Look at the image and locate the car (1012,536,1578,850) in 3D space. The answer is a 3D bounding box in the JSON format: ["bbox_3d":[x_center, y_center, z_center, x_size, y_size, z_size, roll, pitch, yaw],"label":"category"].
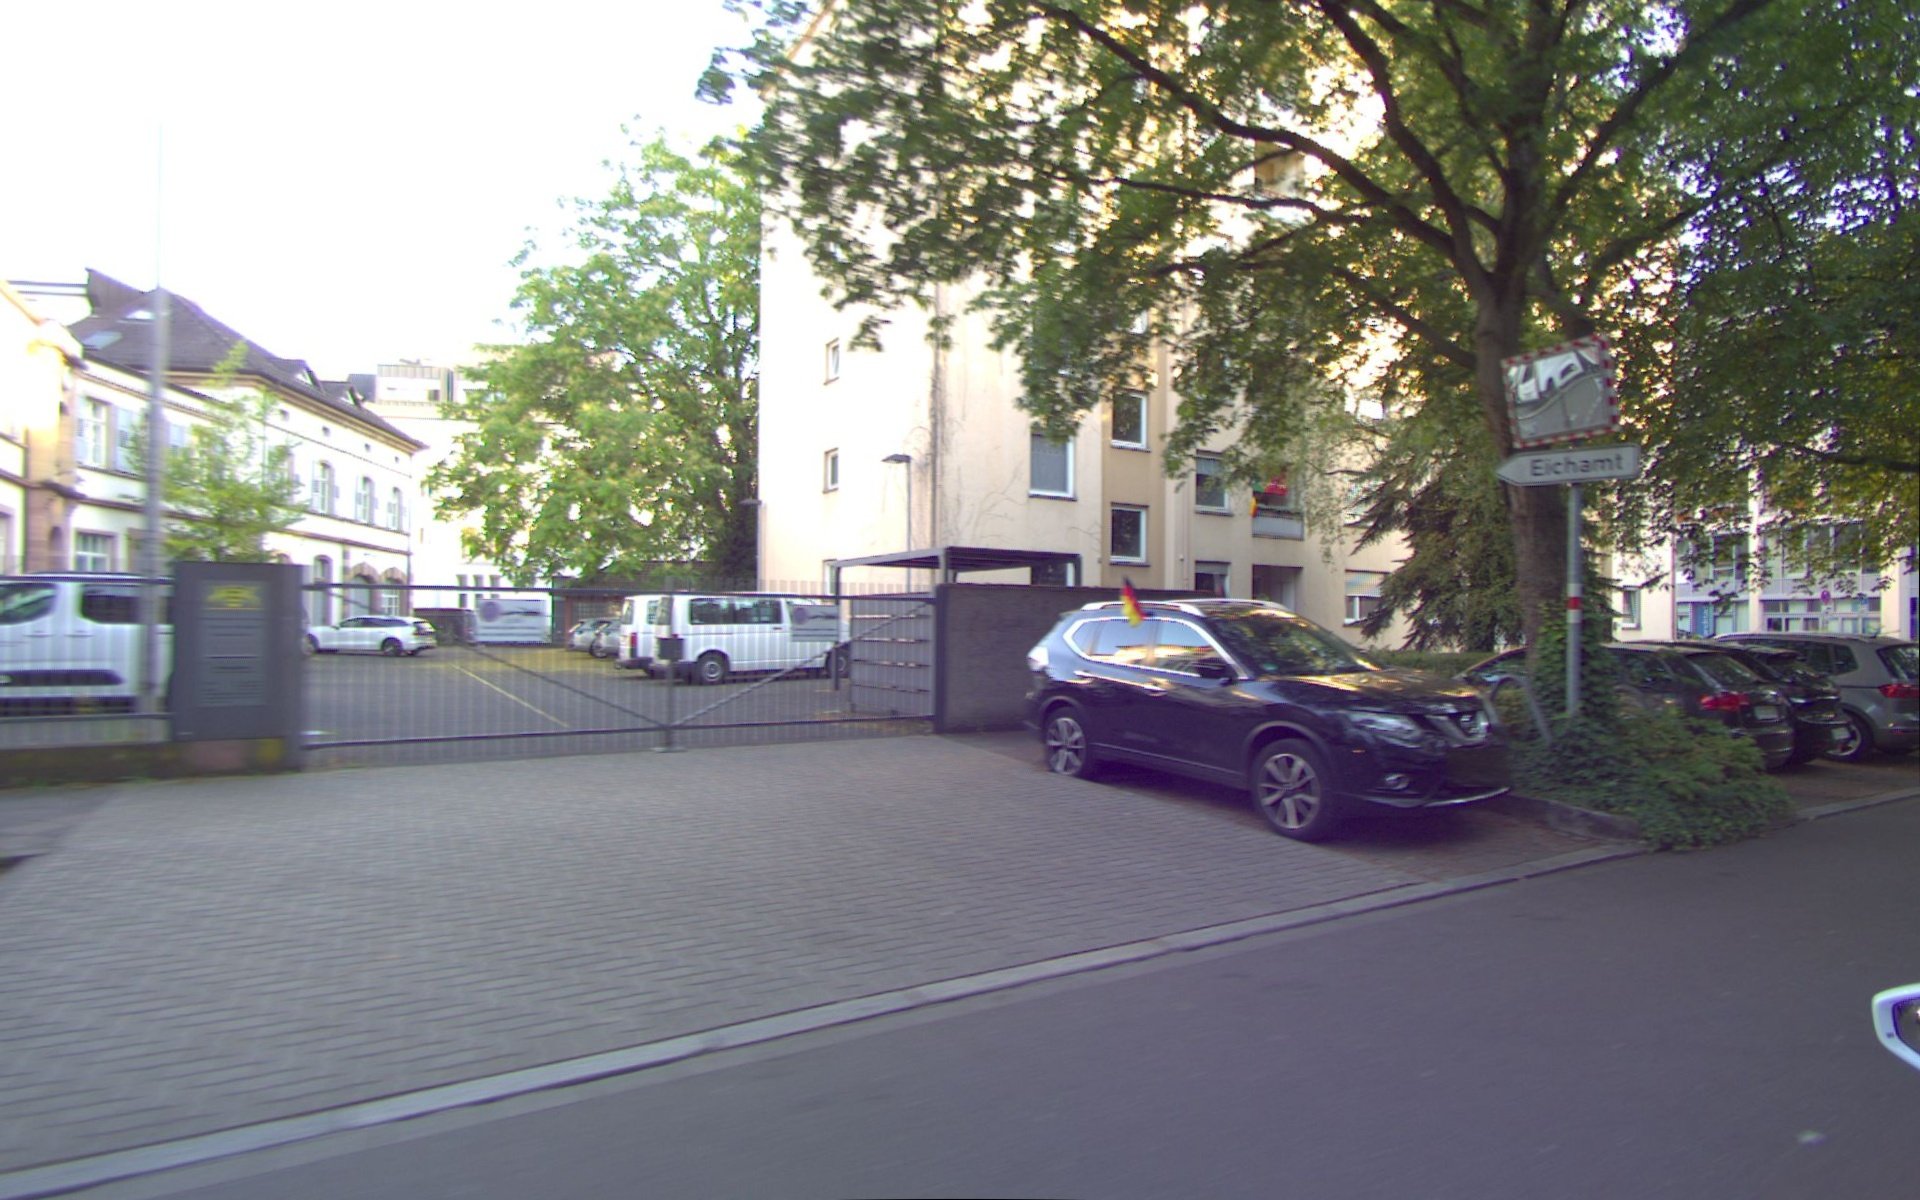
[{"bbox_3d":[2.544,0.631,8.772,1.978,1.981,4.481,1,-1,-32],"label":"car"}]

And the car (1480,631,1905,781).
[{"bbox_3d":[8.975,1.180,12.646,1.806,1.510,3.964,1,-1,-33],"label":"car"}]

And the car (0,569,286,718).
[{"bbox_3d":[-11.603,0.542,13.088,4.631,1.781,1.985,1,-1,-34],"label":"car"}]

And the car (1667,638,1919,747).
[{"bbox_3d":[13.531,1.341,15.213,1.857,1.448,4.267,1,-1,-30],"label":"car"}]

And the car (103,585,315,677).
[{"bbox_3d":[-18.047,0.748,24.398,3.958,2.040,1.981,1,-1,-34],"label":"car"}]

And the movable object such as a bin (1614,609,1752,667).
[{"bbox_3d":[35.918,1.871,50.116,2.243,2.728,5.639,0,-1,-10],"label":"movable object such as a bin"}]

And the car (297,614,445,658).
[{"bbox_3d":[-21.560,1.304,36.932,4.212,1.526,1.998,1,-1,-6],"label":"car"}]

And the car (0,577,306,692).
[{"bbox_3d":[-15.240,0.650,19.111,4.640,1.950,2.133,1,-1,-34],"label":"car"}]

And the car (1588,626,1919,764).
[{"bbox_3d":[11.272,1.177,13.937,1.903,1.586,3.975,1,-1,-25],"label":"car"}]

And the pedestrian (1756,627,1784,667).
[{"bbox_3d":[38.280,2.196,47.485,0.874,1.875,0.875,0,-1,28],"label":"pedestrian"}]

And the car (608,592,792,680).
[{"bbox_3d":[-6.321,0.861,24.497,3.953,1.973,1.984,1,-1,-30],"label":"car"}]

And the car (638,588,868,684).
[{"bbox_3d":[-4.593,0.792,22.441,4.646,1.948,2.043,1,-1,-29],"label":"car"}]

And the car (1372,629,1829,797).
[{"bbox_3d":[6.990,1.100,11.378,1.901,1.483,3.965,1,-1,-32],"label":"car"}]
